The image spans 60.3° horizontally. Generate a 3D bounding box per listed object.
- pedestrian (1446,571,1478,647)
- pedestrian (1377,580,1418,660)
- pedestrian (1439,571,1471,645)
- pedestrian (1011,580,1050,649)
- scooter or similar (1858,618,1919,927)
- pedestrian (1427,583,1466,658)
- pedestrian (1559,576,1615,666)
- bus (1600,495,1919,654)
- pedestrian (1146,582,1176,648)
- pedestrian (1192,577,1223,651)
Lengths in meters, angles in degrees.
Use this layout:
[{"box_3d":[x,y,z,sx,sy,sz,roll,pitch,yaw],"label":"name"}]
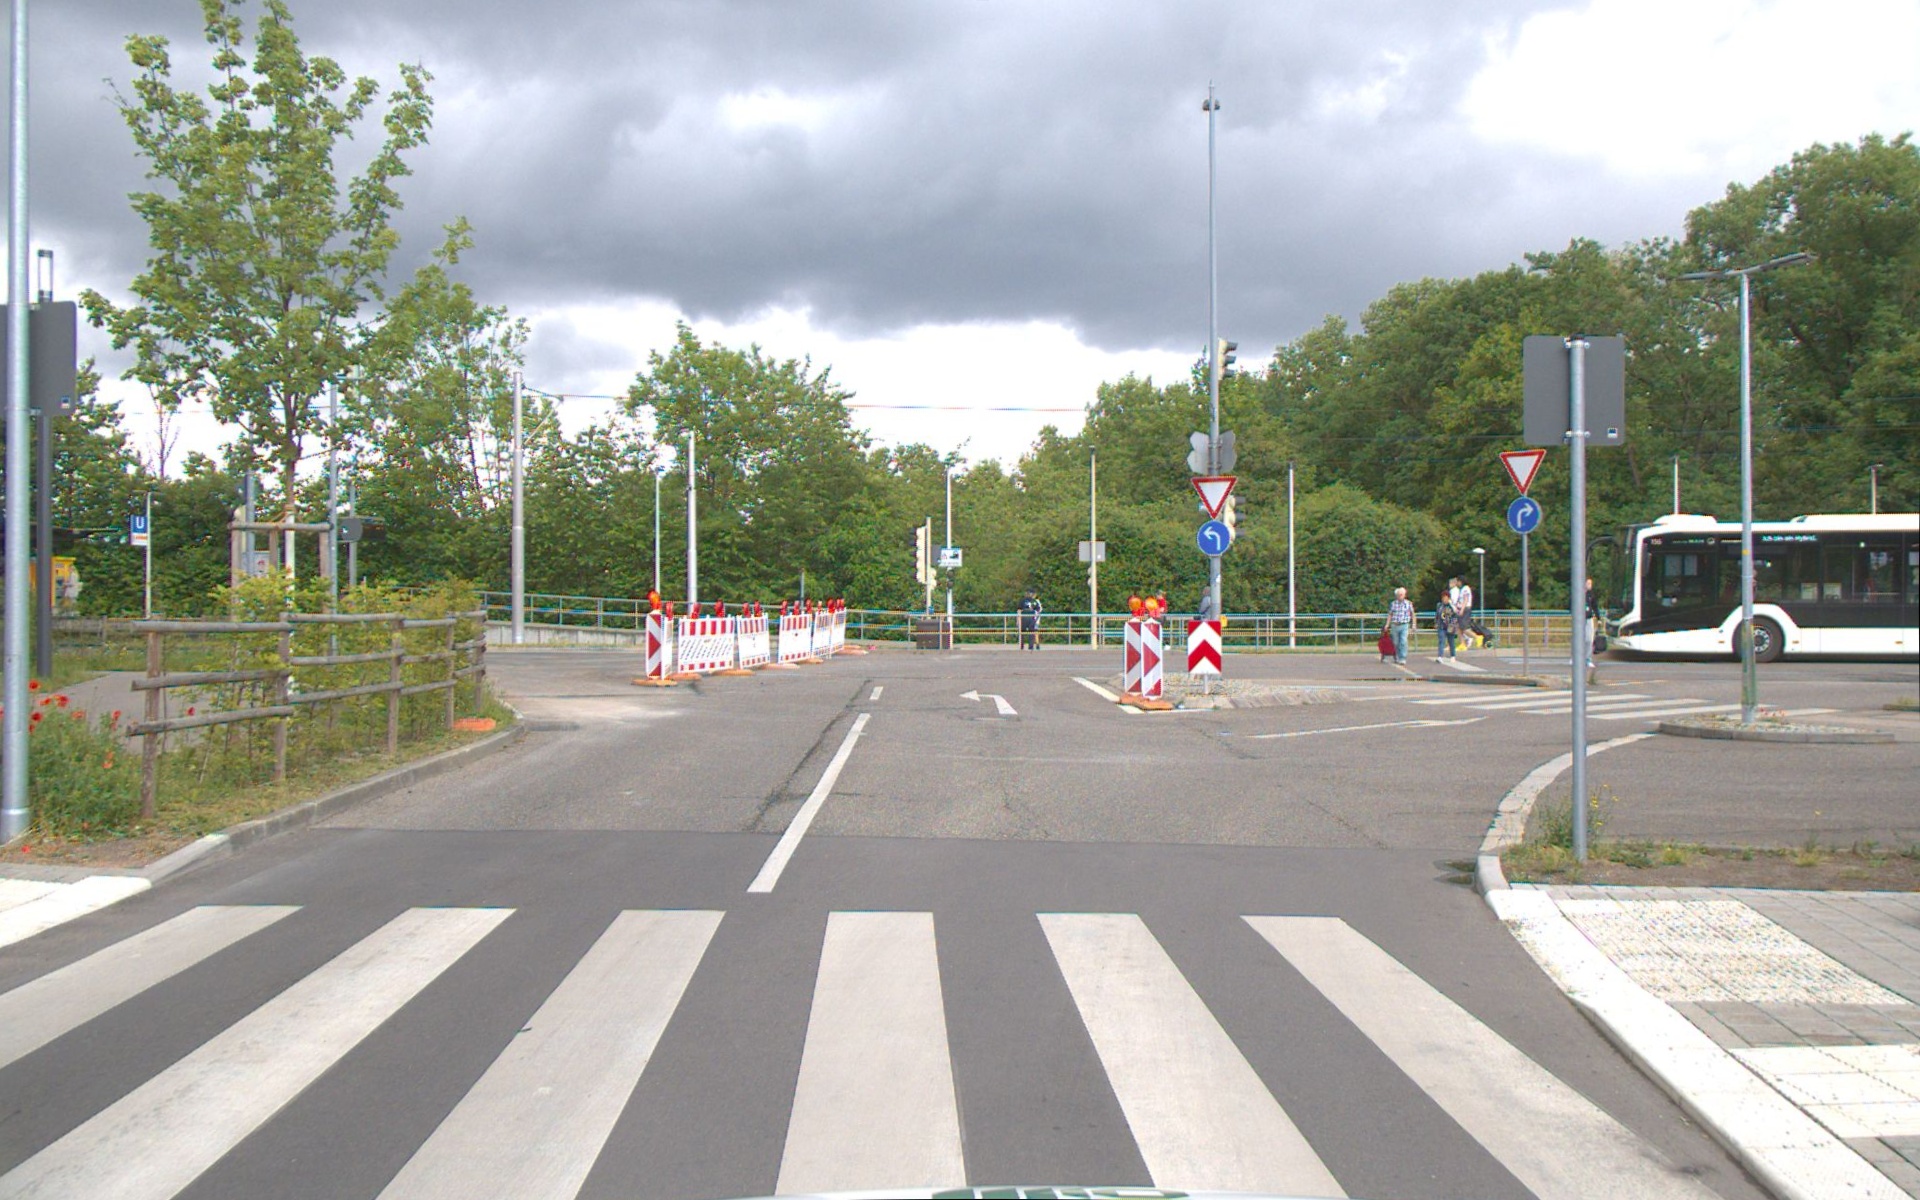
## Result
[{"box_3d":[11.971,0.213,39.429,0.705,1.778,0.958,0,0,16],"label":"pedestrian"},{"box_3d":[9.299,0.419,35.133,0.683,1.662,0.721,0,0,28],"label":"pedestrian"},{"box_3d":[12.111,0.187,40.478,0.705,1.778,0.958,0,0,16],"label":"pedestrian"},{"box_3d":[1.841,0.374,43.300,0.936,1.778,0.722,0,0,-6],"label":"pedestrian"},{"box_3d":[4.800,0.755,7.610,1.507,1.336,0.565,0,0,-35],"label":"scooter or similar"},{"box_3d":[10.493,0.431,35.676,0.677,1.594,0.731,0,0,28],"label":"pedestrian"},{"box_3d":[12.699,0.408,33.484,0.936,1.777,1.060,0,0,28],"label":"pedestrian"},{"box_3d":[20.177,-0.529,35.237,11.899,3.259,2.677,0,0,11],"label":"bus"},{"box_3d":[5.039,0.365,41.534,0.705,1.649,0.806,0,0,10],"label":"pedestrian"},{"box_3d":[6.004,0.332,40.087,0.705,1.778,0.958,0,0,10],"label":"pedestrian"}]
